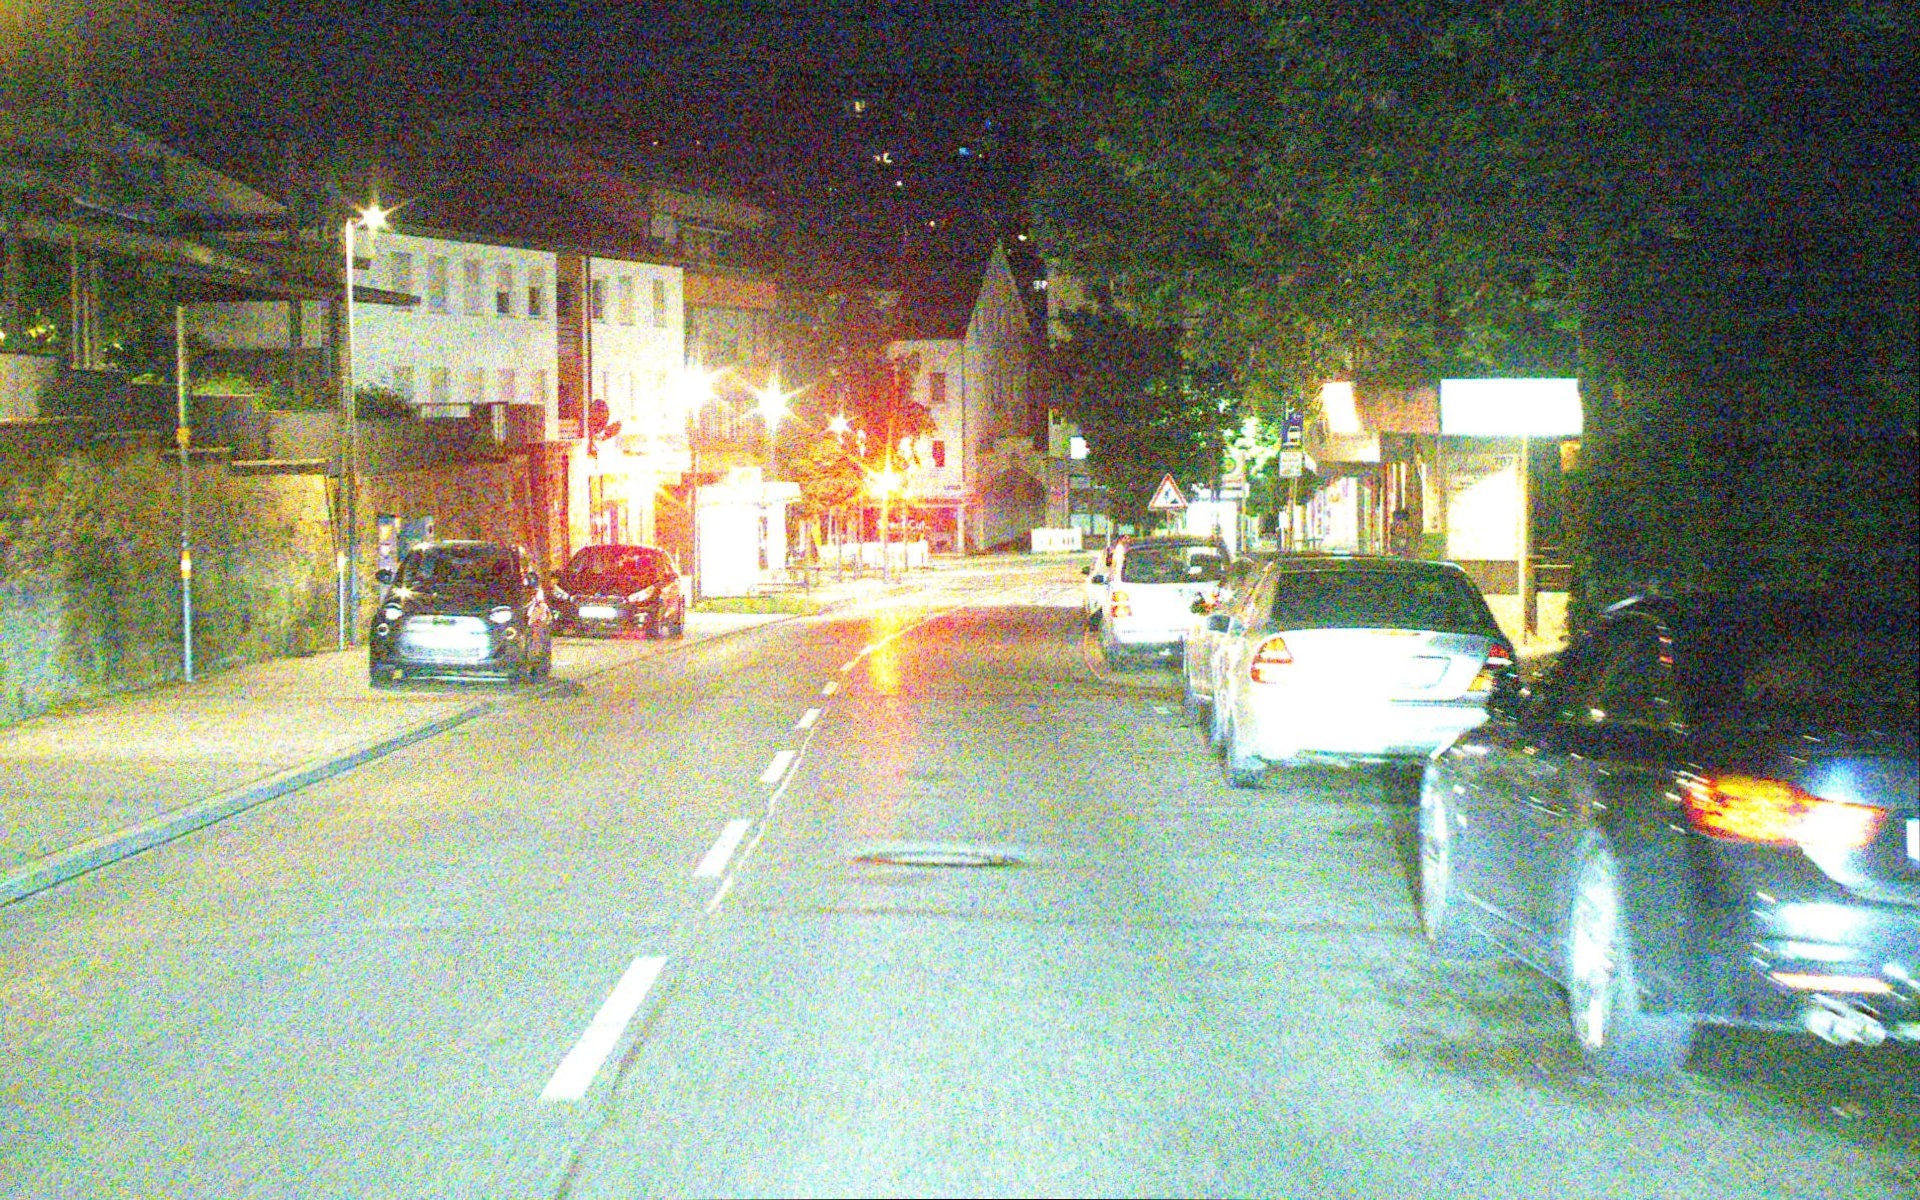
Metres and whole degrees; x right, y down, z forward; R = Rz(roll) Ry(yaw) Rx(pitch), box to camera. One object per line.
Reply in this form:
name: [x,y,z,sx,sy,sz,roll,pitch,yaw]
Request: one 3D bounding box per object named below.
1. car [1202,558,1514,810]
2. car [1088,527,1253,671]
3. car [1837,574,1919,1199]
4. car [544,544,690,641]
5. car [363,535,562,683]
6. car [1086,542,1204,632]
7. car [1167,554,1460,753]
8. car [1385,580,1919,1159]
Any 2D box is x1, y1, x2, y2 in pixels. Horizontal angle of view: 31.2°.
car: [2.485,0.463,22.398,1.676,1.442,4.611,0,1,2]
car: [2.562,-0.047,42.678,1.787,1.636,4.380,-2,1,1]
car: [2.900,0.721,6.116,1.638,1.461,3.776,1,1,-1]
car: [-5.426,-0.146,54.889,1.692,1.432,4.128,2,1,3]
car: [-5.394,0.095,37.617,1.691,1.518,3.691,1,0,-1]
car: [3.132,-0.249,58.942,1.857,1.437,4.594,-2,1,1]
car: [2.752,0.369,27.638,1.780,1.432,4.290,1,1,-1]
car: [2.581,0.676,10.913,1.762,1.411,4.441,1,1,-2]
